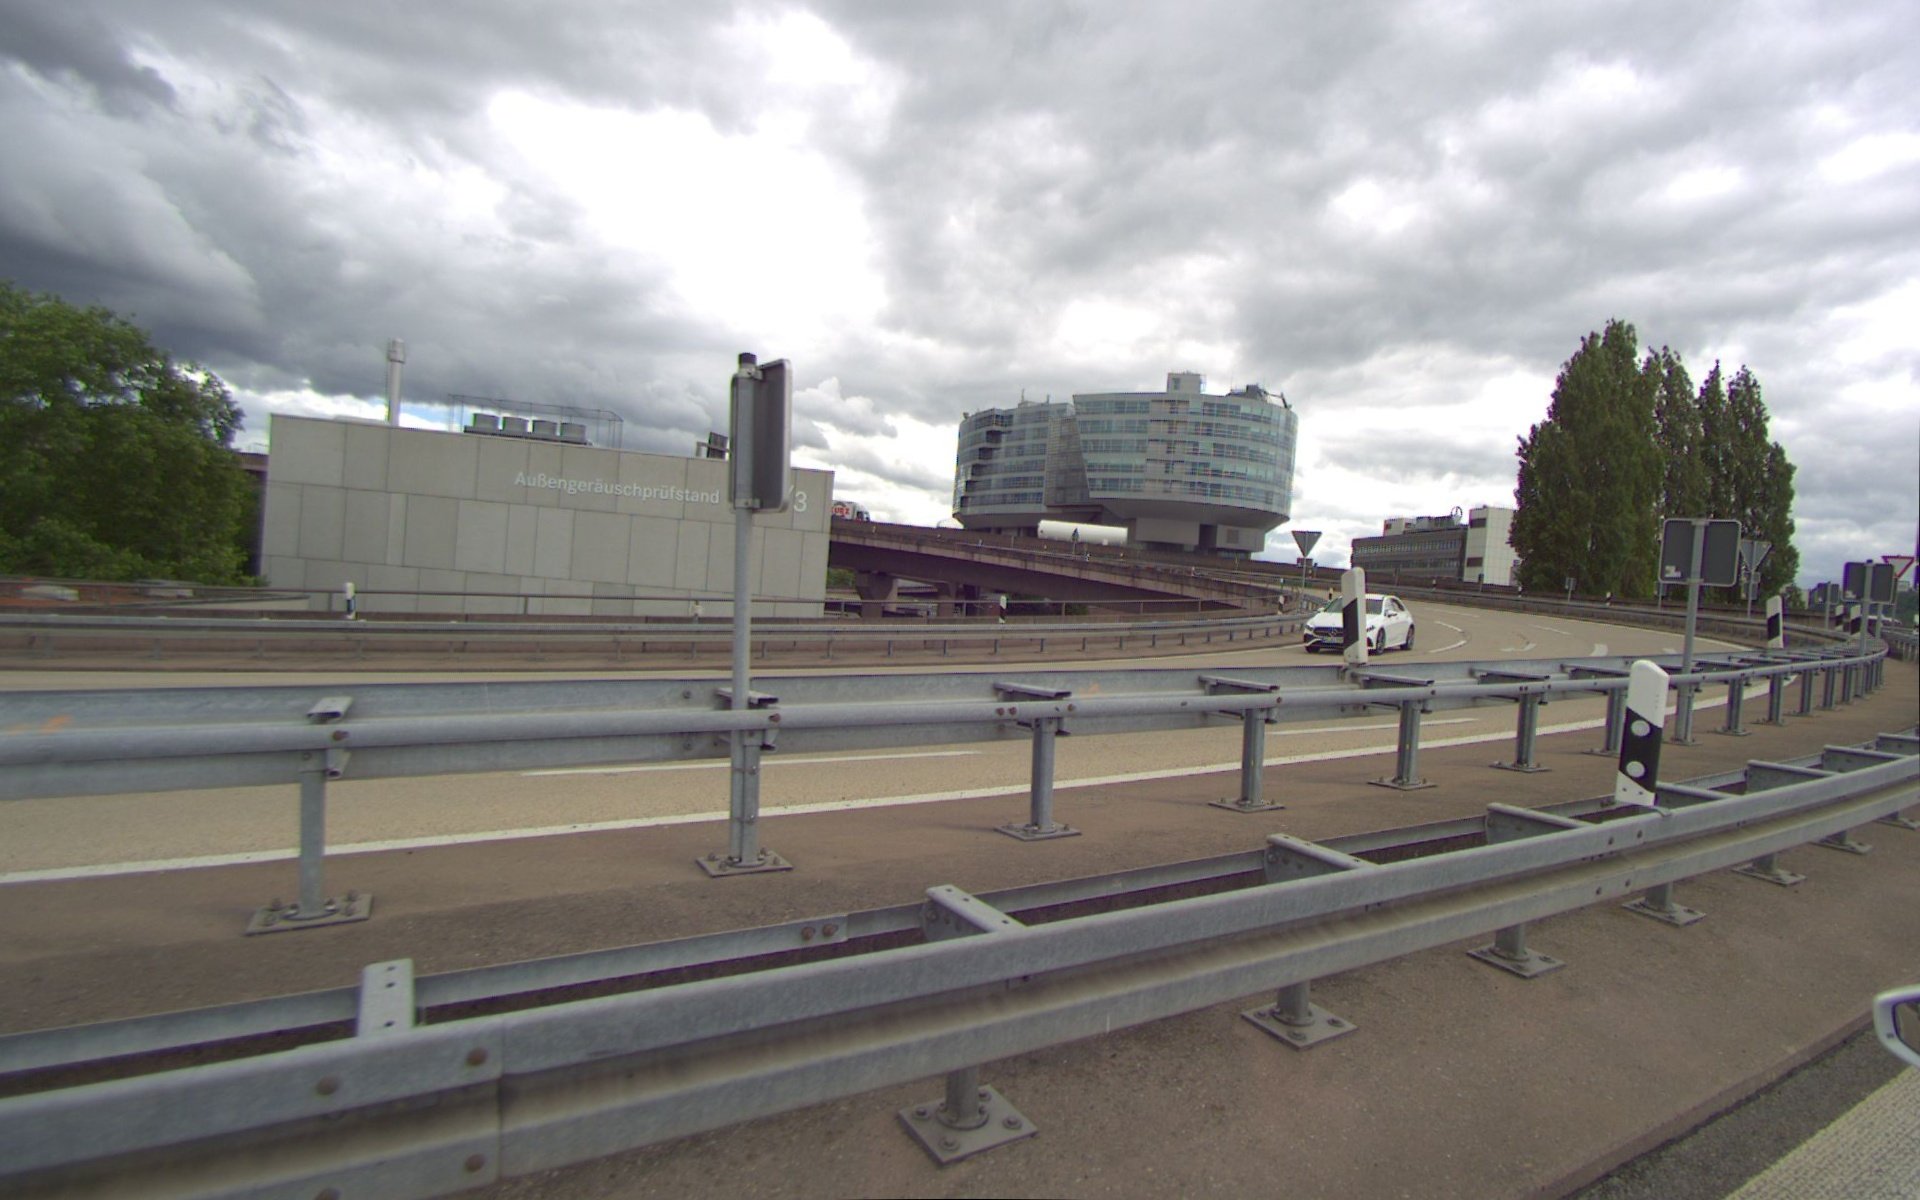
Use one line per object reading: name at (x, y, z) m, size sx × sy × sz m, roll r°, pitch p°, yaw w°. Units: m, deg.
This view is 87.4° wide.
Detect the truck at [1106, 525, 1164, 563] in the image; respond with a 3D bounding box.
truck at (18.980, -6.089, 108.814) m, size 5.845 × 3.475 × 2.780 m, roll 6°, pitch 1°, yaw 12°

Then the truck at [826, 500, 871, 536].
truck at (-13.377, -9.847, 120.543) m, size 4.350 × 3.738 × 2.701 m, roll 6°, pitch 1°, yaw 12°

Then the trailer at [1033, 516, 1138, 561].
trailer at (13.709, -6.751, 109.948) m, size 10.931 × 3.786 × 2.803 m, roll 6°, pitch 1°, yaw 12°

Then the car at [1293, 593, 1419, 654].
car at (10.181, 0.573, 25.651) m, size 1.887 × 1.433 × 4.348 m, roll 0°, pitch -1°, yaw 37°

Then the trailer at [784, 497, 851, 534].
trailer at (-17.207, -10.204, 121.360) m, size 7.166 × 3.738 × 2.701 m, roll 6°, pitch 1°, yaw 12°
